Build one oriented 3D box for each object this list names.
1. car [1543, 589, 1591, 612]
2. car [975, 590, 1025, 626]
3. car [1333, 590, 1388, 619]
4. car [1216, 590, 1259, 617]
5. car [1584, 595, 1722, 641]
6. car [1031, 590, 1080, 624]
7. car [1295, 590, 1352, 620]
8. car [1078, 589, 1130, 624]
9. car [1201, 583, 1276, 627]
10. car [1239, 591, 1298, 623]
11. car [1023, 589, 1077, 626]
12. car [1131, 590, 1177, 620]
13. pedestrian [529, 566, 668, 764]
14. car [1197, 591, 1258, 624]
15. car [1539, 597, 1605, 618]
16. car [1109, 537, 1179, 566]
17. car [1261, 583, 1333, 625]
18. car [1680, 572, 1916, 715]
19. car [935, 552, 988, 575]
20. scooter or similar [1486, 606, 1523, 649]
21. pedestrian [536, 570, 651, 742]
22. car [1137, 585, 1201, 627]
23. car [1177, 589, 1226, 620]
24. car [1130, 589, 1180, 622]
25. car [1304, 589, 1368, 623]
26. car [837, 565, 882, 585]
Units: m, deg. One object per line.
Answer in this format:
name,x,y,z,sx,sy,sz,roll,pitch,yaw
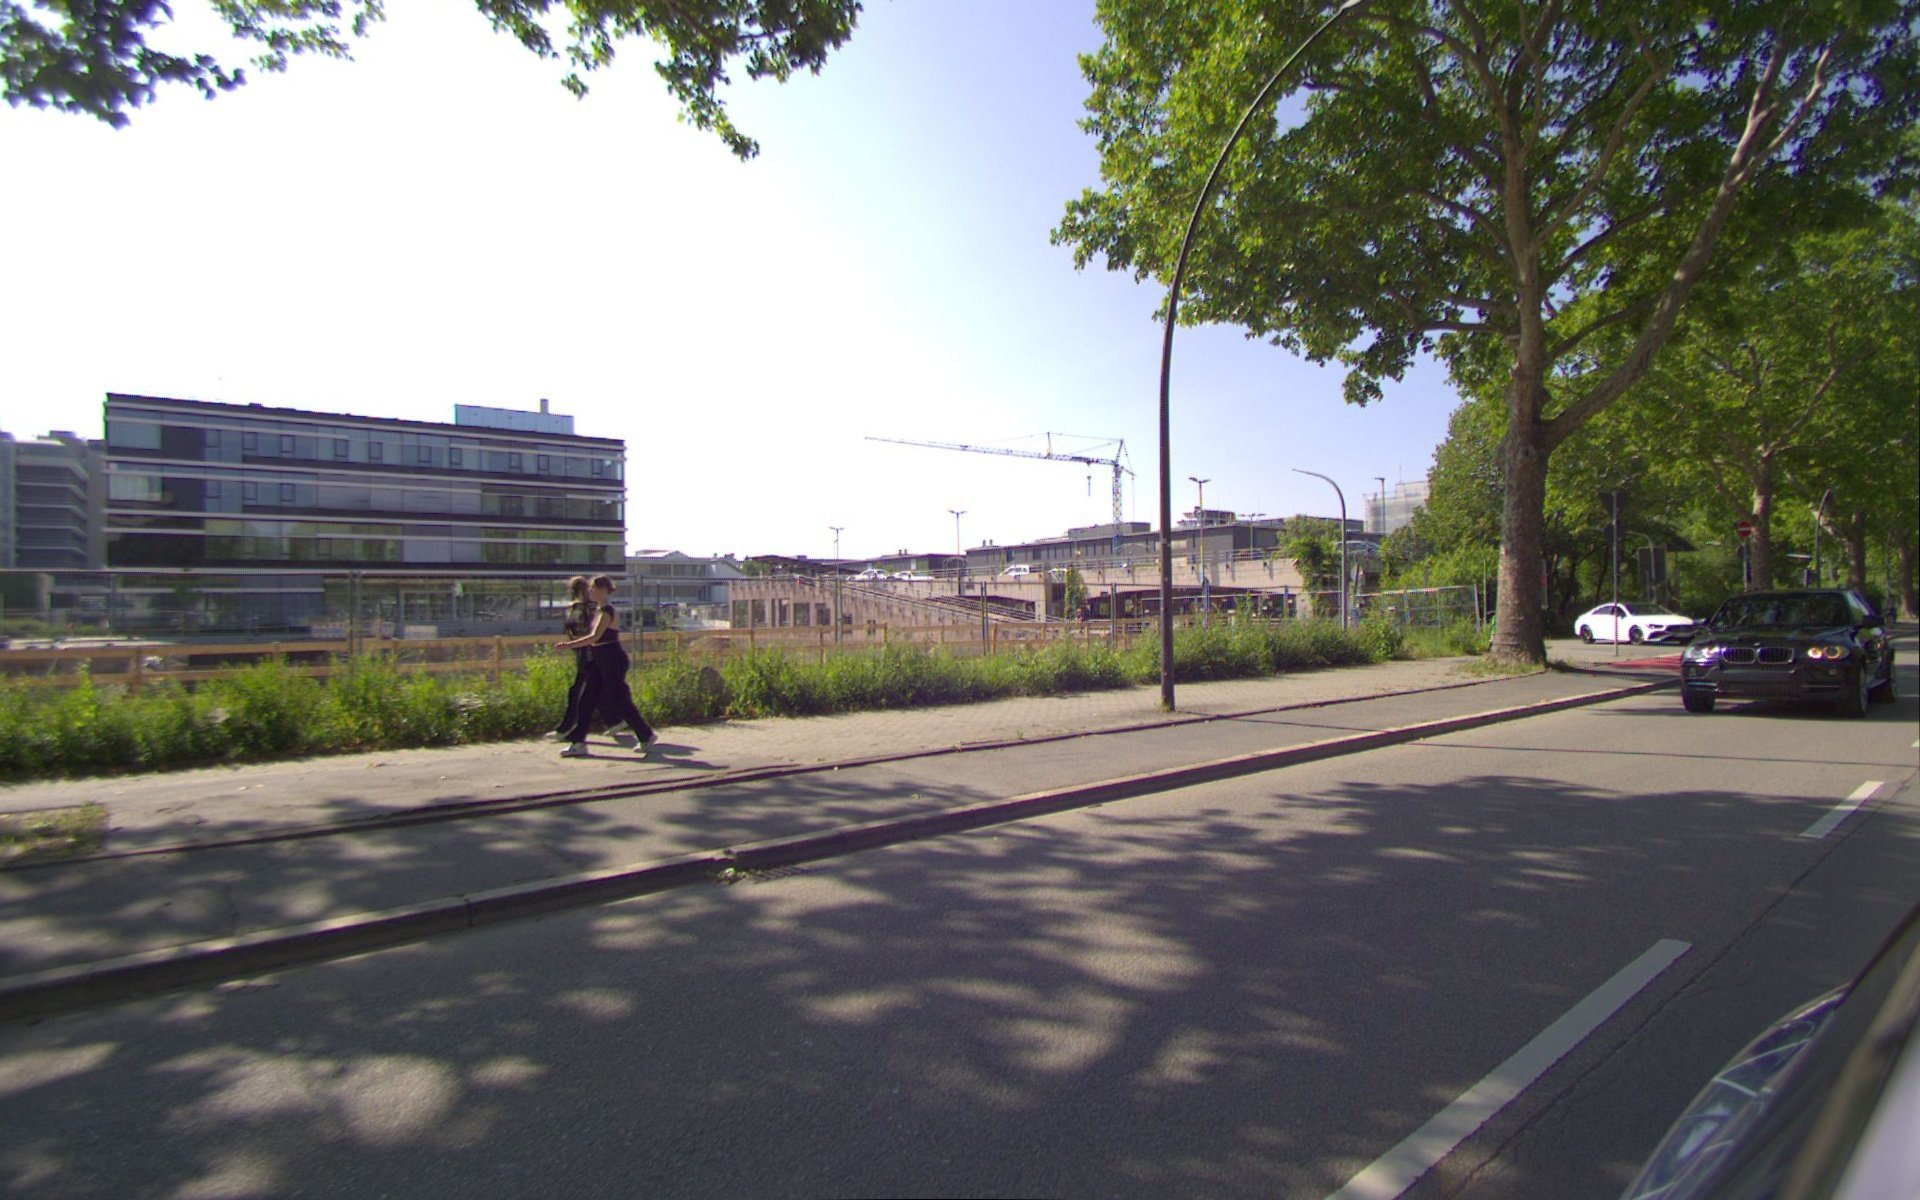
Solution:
car,63.457,0.054,105.824,1.778,2.352,3.991,0,-2,-42
car,3.206,0.664,82.262,1.778,2.774,3.991,0,-2,-42
car,34.534,0.406,87.248,1.778,2.352,3.991,0,-2,-42
car,28.711,0.390,104.831,1.778,2.774,3.991,0,-2,-42
car,23.137,0.611,33.981,1.861,1.427,3.998,-1,-1,1
car,8.150,0.611,86.674,1.778,2.774,3.991,0,-2,-42
car,29.720,0.457,82.807,1.778,2.352,3.991,0,-2,-42
car,11.745,0.530,82.762,1.778,2.774,3.991,0,-2,-42
car,17.880,0.349,65.169,1.778,2.774,4.368,0,-2,-42
car,23.607,0.523,77.529,1.778,2.352,3.991,0,-2,-42
car,6.883,0.579,77.813,1.778,2.774,3.991,0,-2,-42
car,18.363,0.502,95.731,1.778,2.774,3.991,0,-2,-42
pedestrian,-3.410,0.575,9.552,1.047,1.746,0.711,0,-2,-41
car,19.519,0.567,73.913,1.778,2.352,3.991,0,-2,-42
car,46.804,0.563,77.417,1.778,1.529,3.991,0,-1,-42
car,11.404,-2.974,62.913,1.778,1.529,3.991,0,-1,-42
car,23.167,0.291,69.615,1.778,2.774,4.368,0,-2,-42
car,12.077,0.560,14.505,4.079,1.753,1.922,-1,-2,-41
car,0.075,-2.715,76.196,1.778,1.529,3.991,0,-1,-42
scooter or similar,14.974,0.753,27.816,1.108,1.136,0.482,0,-2,-40
pedestrian,-3.850,0.565,10.627,0.942,1.705,0.696,0,-2,-41
car,14.345,0.413,69.466,1.778,2.774,3.991,0,-2,-42
car,21.909,0.421,91.767,1.778,2.774,3.991,0,-2,-42
car,16.795,0.476,87.269,1.778,2.774,3.991,0,-2,-42
car,27.277,0.441,73.517,1.778,2.352,3.991,0,-2,-42
car,-8.627,-2.084,86.587,1.778,1.529,3.991,0,-1,-42
